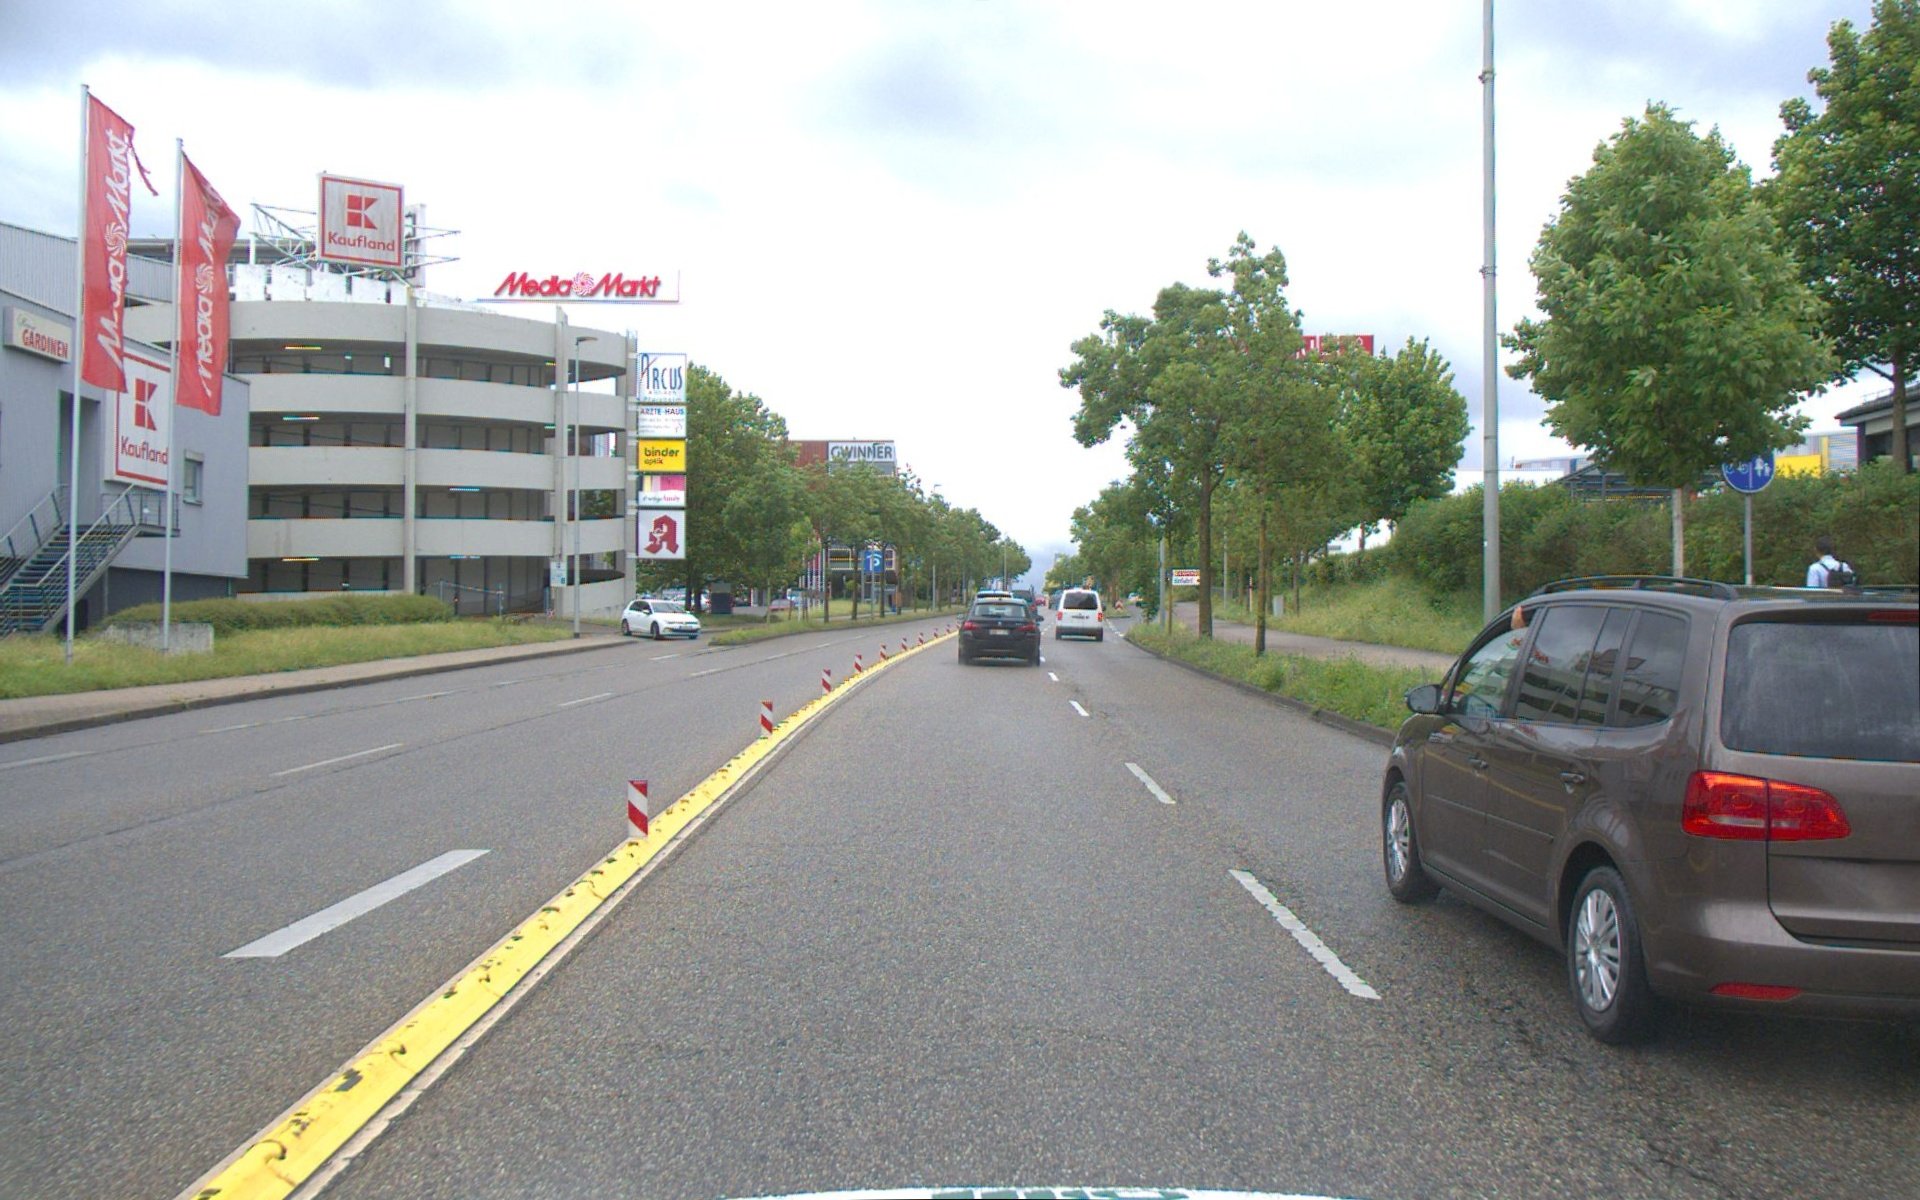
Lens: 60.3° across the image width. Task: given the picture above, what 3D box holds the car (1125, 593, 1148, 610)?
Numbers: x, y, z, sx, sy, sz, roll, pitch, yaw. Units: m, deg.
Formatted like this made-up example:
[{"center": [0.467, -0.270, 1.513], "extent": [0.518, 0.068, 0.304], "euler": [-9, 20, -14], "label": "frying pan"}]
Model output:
[{"center": [16.429, 0.139, 154.069], "extent": [1.757, 1.537, 4.000], "euler": [2, 0, 1], "label": "car"}]

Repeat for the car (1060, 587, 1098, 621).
[{"center": [5.793, 0.204, 80.910], "extent": [1.757, 1.537, 4.001], "euler": [2, 0, 3], "label": "car"}]

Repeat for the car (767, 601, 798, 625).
[{"center": [-13.651, 0.994, 127.456], "extent": [1.893, 1.636, 4.711], "euler": [1, 2, -1], "label": "car"}]

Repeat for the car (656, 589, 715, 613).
[{"center": [-22.002, 0.080, 132.741], "extent": [4.508, 1.776, 1.966], "euler": [1, 1, -4], "label": "car"}]

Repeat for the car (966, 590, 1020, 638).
[{"center": [1.144, 0.466, 56.808], "extent": [1.757, 1.537, 4.000], "euler": [2, 0, 1], "label": "car"}]

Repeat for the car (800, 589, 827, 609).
[{"center": [-14.437, -0.079, 162.952], "extent": [2.093, 1.804, 4.610], "euler": [1, 2, 2], "label": "car"}]

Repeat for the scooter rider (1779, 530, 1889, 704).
[{"center": [9.638, 0.178, 18.267], "extent": [0.681, 1.852, 0.858], "euler": [-2, 0, -3], "label": "scooter rider"}]

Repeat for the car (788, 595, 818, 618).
[{"center": [-13.461, 0.539, 141.851], "extent": [1.997, 1.792, 4.947], "euler": [1, 2, 1], "label": "car"}]

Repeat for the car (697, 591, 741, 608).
[{"center": [-23.350, -0.055, 160.300], "extent": [4.027, 1.536, 1.818], "euler": [1, 1, -4], "label": "car"}]

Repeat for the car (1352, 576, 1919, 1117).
[{"center": [3.066, 0.738, 7.073], "extent": [1.651, 1.609, 4.217], "euler": [1, 0, -2], "label": "car"}]

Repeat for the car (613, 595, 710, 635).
[{"center": [-11.622, 0.578, 64.197], "extent": [1.886, 1.433, 4.363], "euler": [-2, 1, -38], "label": "car"}]

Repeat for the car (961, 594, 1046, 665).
[{"center": [0.960, 0.639, 37.468], "extent": [1.789, 1.494, 4.000], "euler": [1, 0, 1], "label": "car"}]

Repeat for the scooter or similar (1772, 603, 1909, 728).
[{"center": [9.658, 0.694, 18.198], "extent": [0.681, 1.285, 1.400], "euler": [-2, 0, -3], "label": "scooter or similar"}]

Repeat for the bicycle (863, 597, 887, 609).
[{"center": [-8.267, 0.302, 160.631], "extent": [2.033, 0.951, 1.094], "euler": [5, 0, 8], "label": "bicycle"}]

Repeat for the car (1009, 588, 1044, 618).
[{"center": [3.527, 0.174, 88.234], "extent": [1.757, 1.537, 4.000], "euler": [2, 0, 1], "label": "car"}]

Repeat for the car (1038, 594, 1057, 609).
[{"center": [9.111, 0.158, 171.836], "extent": [1.757, 1.537, 4.000], "euler": [2, 0, 1], "label": "car"}]

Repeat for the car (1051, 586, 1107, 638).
[{"center": [4.329, 0.396, 60.795], "extent": [1.789, 1.789, 4.001], "euler": [2, 0, 1], "label": "car"}]
